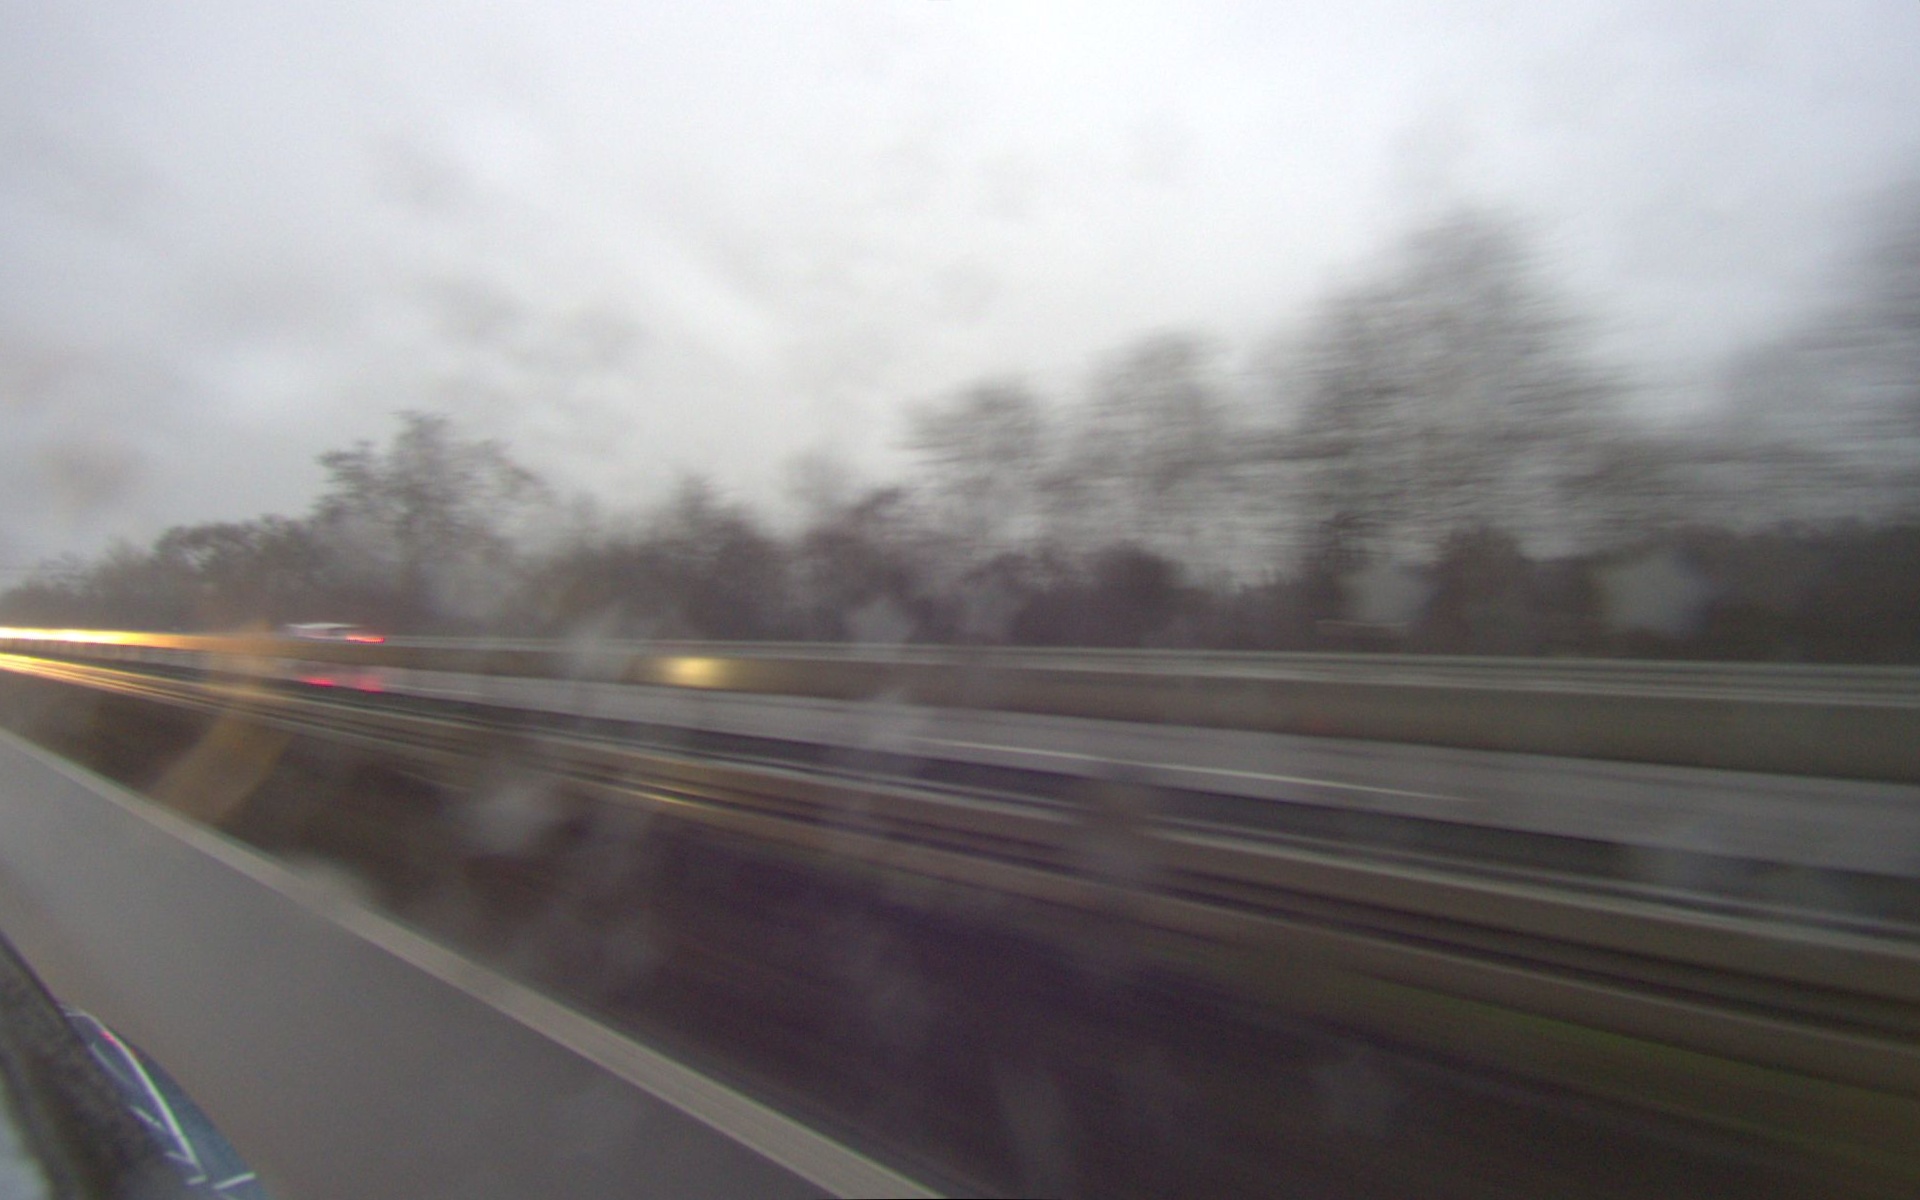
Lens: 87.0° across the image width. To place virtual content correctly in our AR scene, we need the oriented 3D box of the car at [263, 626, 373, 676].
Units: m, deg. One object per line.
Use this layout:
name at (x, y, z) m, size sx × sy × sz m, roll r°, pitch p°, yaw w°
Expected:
car at (-19.618, 1.520, 30.869) m, size 3.997 × 1.434 × 1.699 m, roll -1°, pitch -3°, yaw 40°
